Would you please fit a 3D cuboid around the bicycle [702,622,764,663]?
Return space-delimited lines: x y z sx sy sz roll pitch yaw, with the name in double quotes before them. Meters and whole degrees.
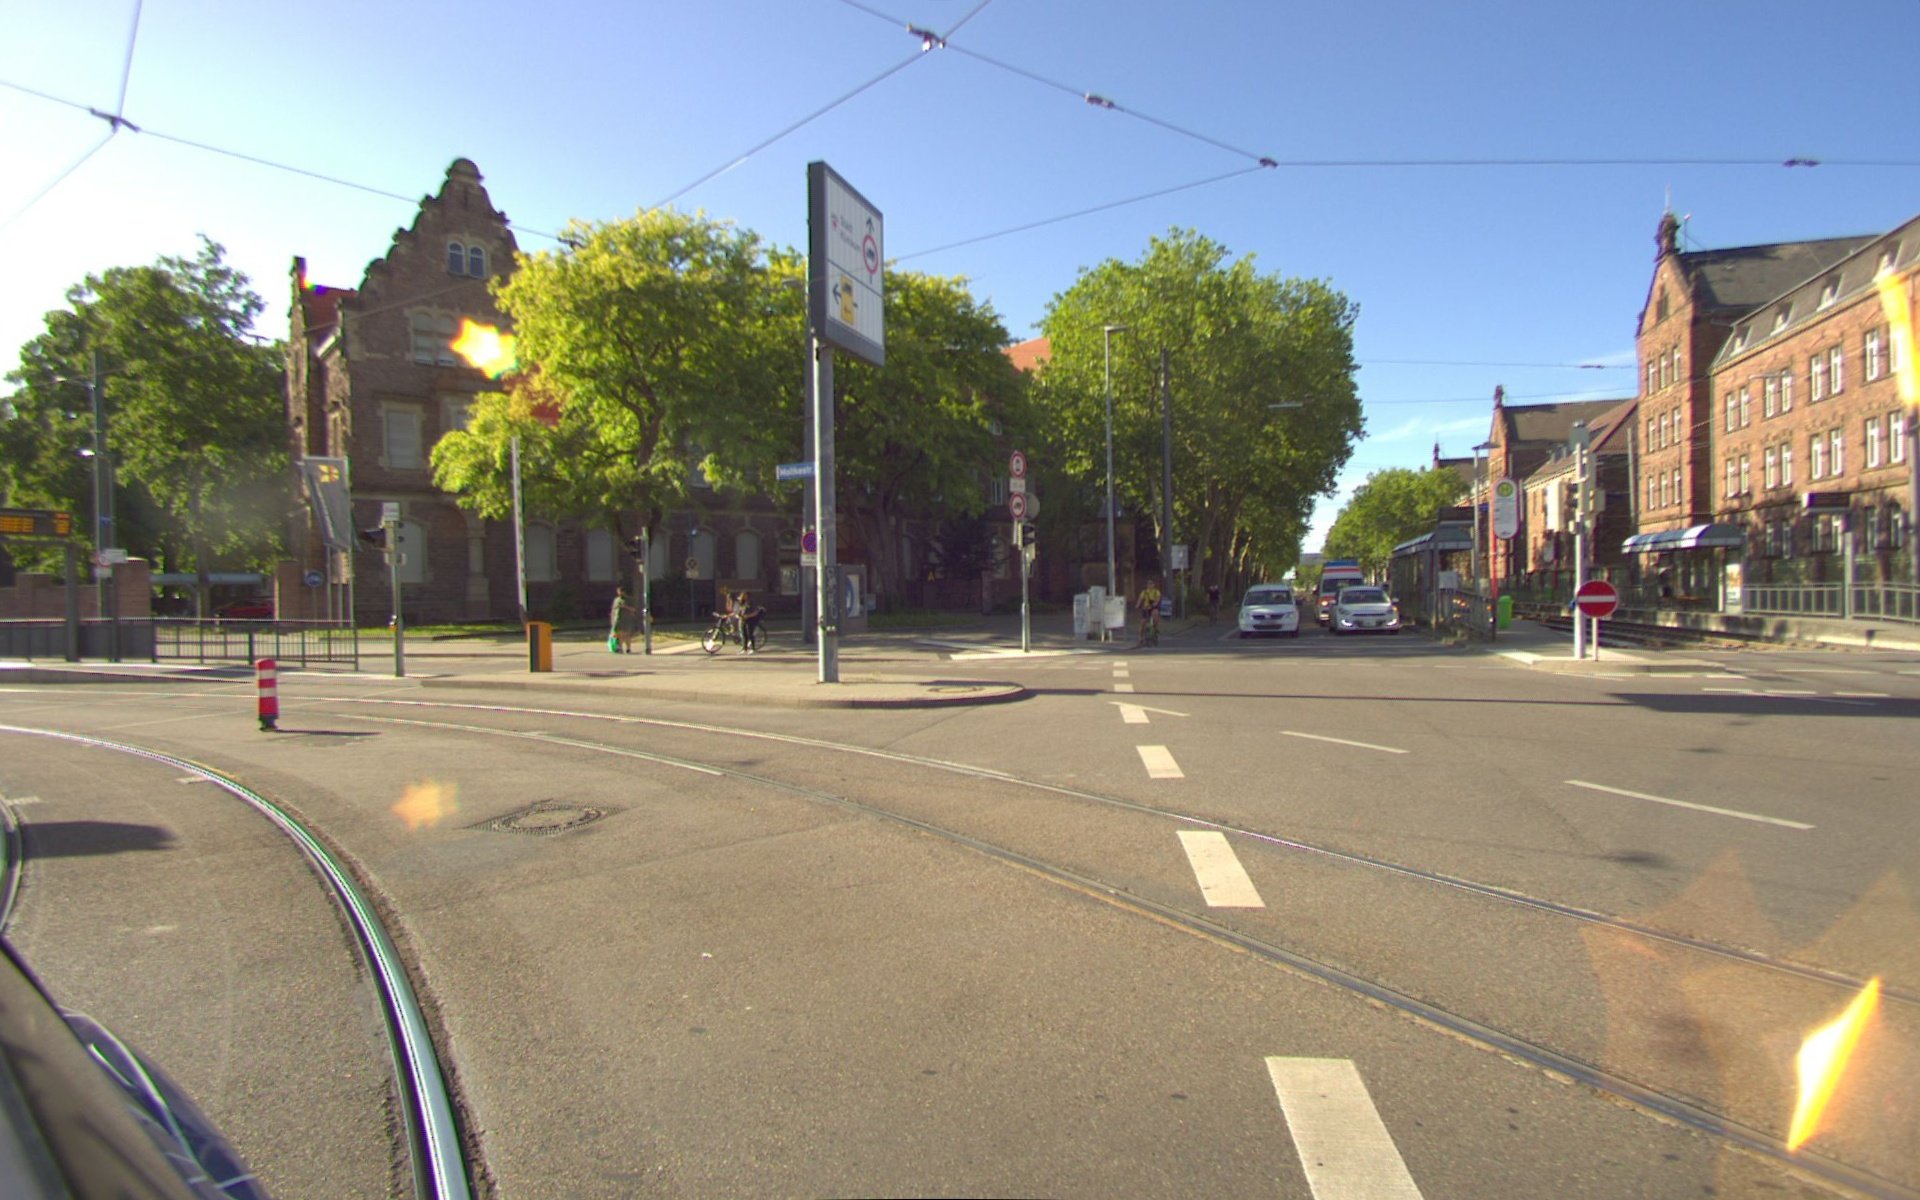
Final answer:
"bicycle" -5.915 1.094 26.431 1.567 1.004 0.480 -1 0 -11

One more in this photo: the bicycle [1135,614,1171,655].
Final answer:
"bicycle" 5.195 0.930 27.197 0.685 1.041 2.086 0 -2 18

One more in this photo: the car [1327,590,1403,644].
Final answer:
"car" 12.633 0.522 31.761 1.970 1.560 4.009 -1 -1 19

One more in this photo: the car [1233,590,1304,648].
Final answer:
"car" 9.547 0.563 31.254 1.897 1.630 4.544 -2 -1 18

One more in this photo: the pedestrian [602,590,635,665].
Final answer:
"pedestrian" -9.011 0.718 26.685 0.688 1.969 0.486 -1 0 -2

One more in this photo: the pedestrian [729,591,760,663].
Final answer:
"pedestrian" -5.351 0.671 25.160 0.660 1.760 0.486 -1 0 -2

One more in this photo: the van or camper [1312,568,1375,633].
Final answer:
"van or camper" 15.054 0.068 39.985 1.984 2.379 5.565 -1 -1 18

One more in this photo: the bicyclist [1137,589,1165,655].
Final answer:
"bicyclist" 5.077 0.591 26.847 0.665 1.742 0.619 -1 -2 18

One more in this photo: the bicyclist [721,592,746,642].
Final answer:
"bicyclist" -5.910 0.438 26.404 0.609 1.294 0.480 -1 0 -11
